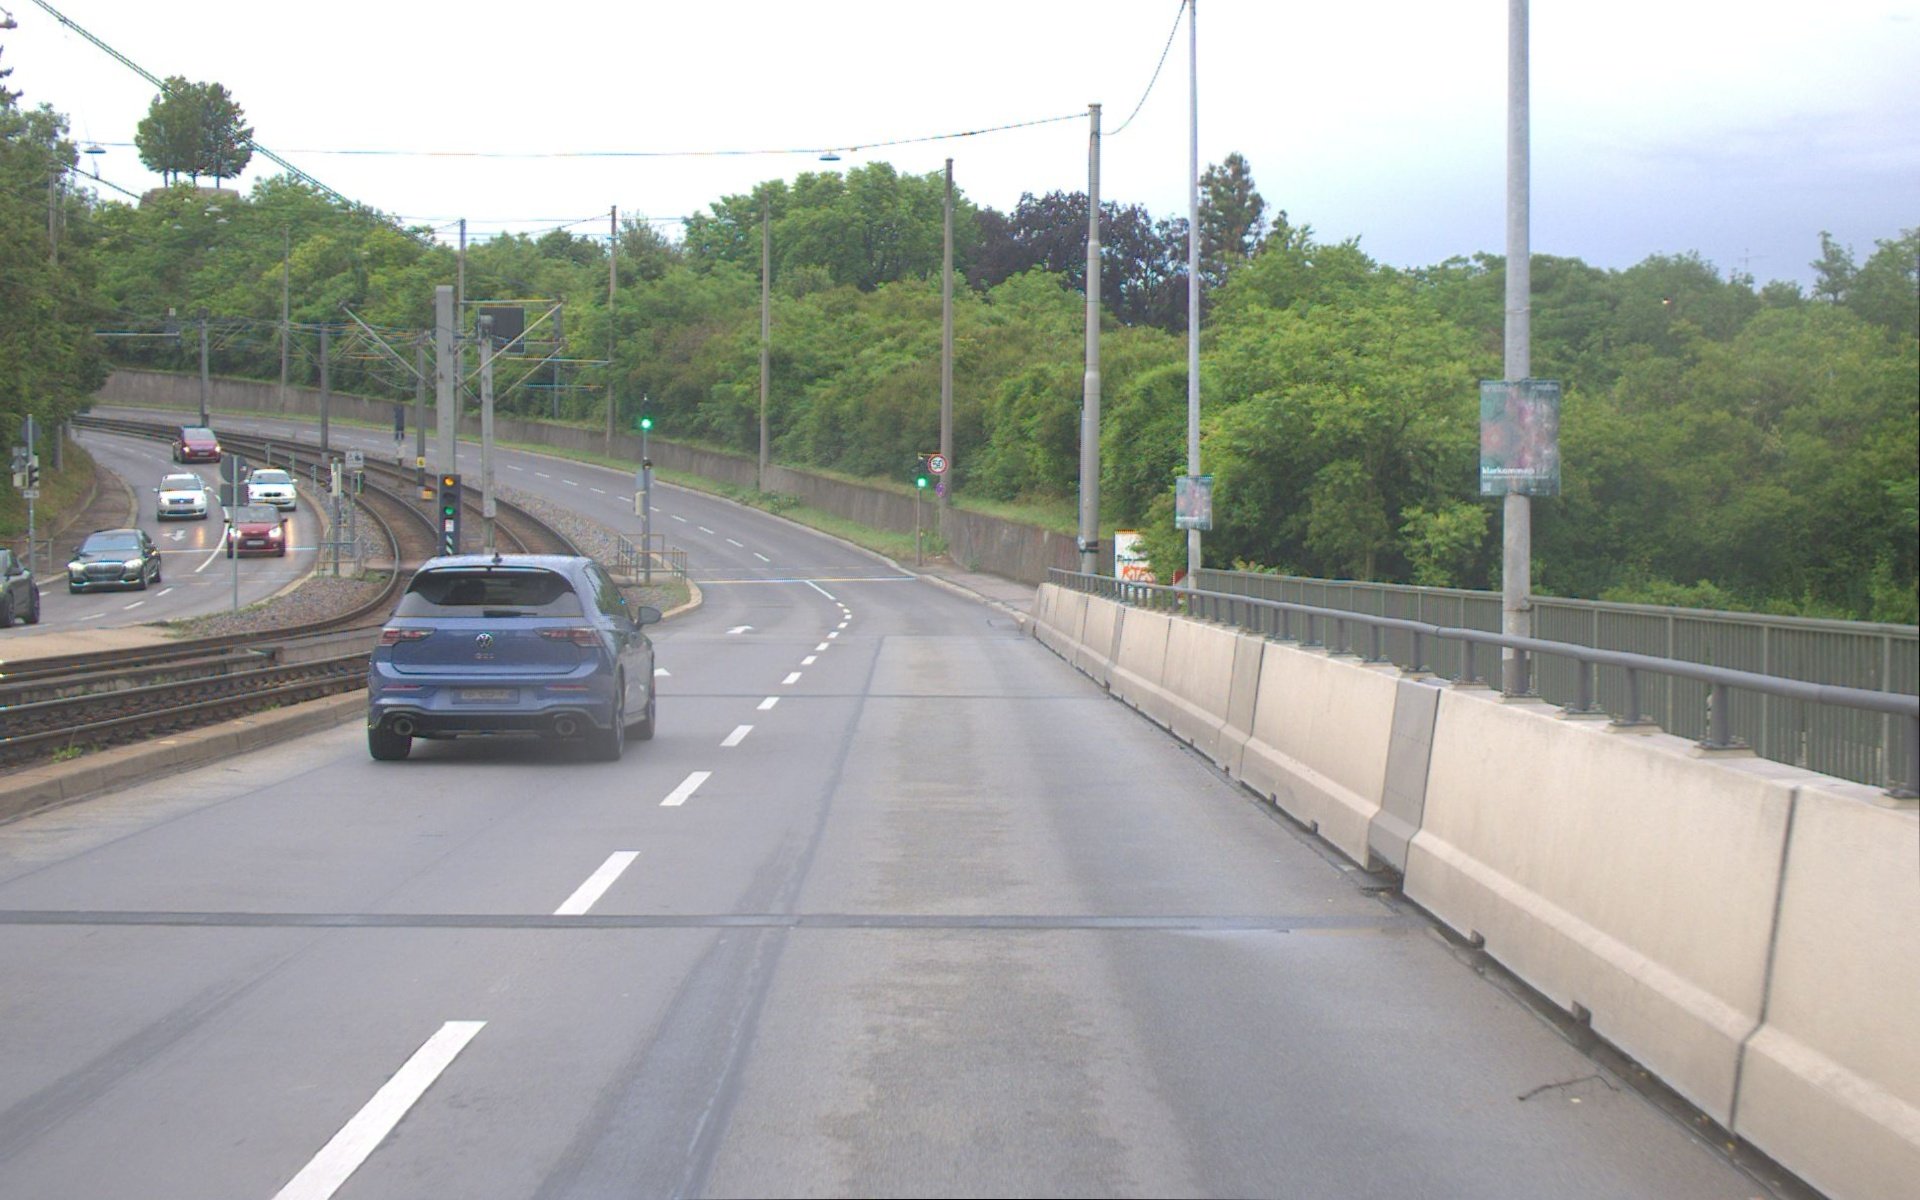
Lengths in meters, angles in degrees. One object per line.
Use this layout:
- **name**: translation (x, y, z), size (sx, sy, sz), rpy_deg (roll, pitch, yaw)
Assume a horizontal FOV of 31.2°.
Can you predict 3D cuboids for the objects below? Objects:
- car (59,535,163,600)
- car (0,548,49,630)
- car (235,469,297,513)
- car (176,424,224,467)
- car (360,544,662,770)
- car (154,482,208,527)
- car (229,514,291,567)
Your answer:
- **car**: translation (-22.071, -0.824, 89.556), size (1.968, 1.592, 5.185), rpy_deg (-1, 0, -7)
- **car**: translation (-20.034, -0.236, 70.258), size (1.896, 1.592, 4.733), rpy_deg (-1, 1, -5)
- **car**: translation (-25.425, -3.990, 125.883), size (1.729, 1.432, 4.493), rpy_deg (-1, 0, -18)
- **car**: translation (-35.828, -7.307, 161.958), size (1.847, 1.591, 4.736), rpy_deg (-2, 8, -16)
- **car**: translation (-3.213, 0.368, 25.283), size (1.763, 1.496, 4.000), rpy_deg (1, 0, -1)
- **car**: translation (-27.551, -3.353, 121.703), size (1.820, 1.510, 4.530), rpy_deg (0, 1, -12)
- **car**: translation (-20.924, -1.779, 102.662), size (1.600, 1.488, 3.019), rpy_deg (-2, 2, -15)
